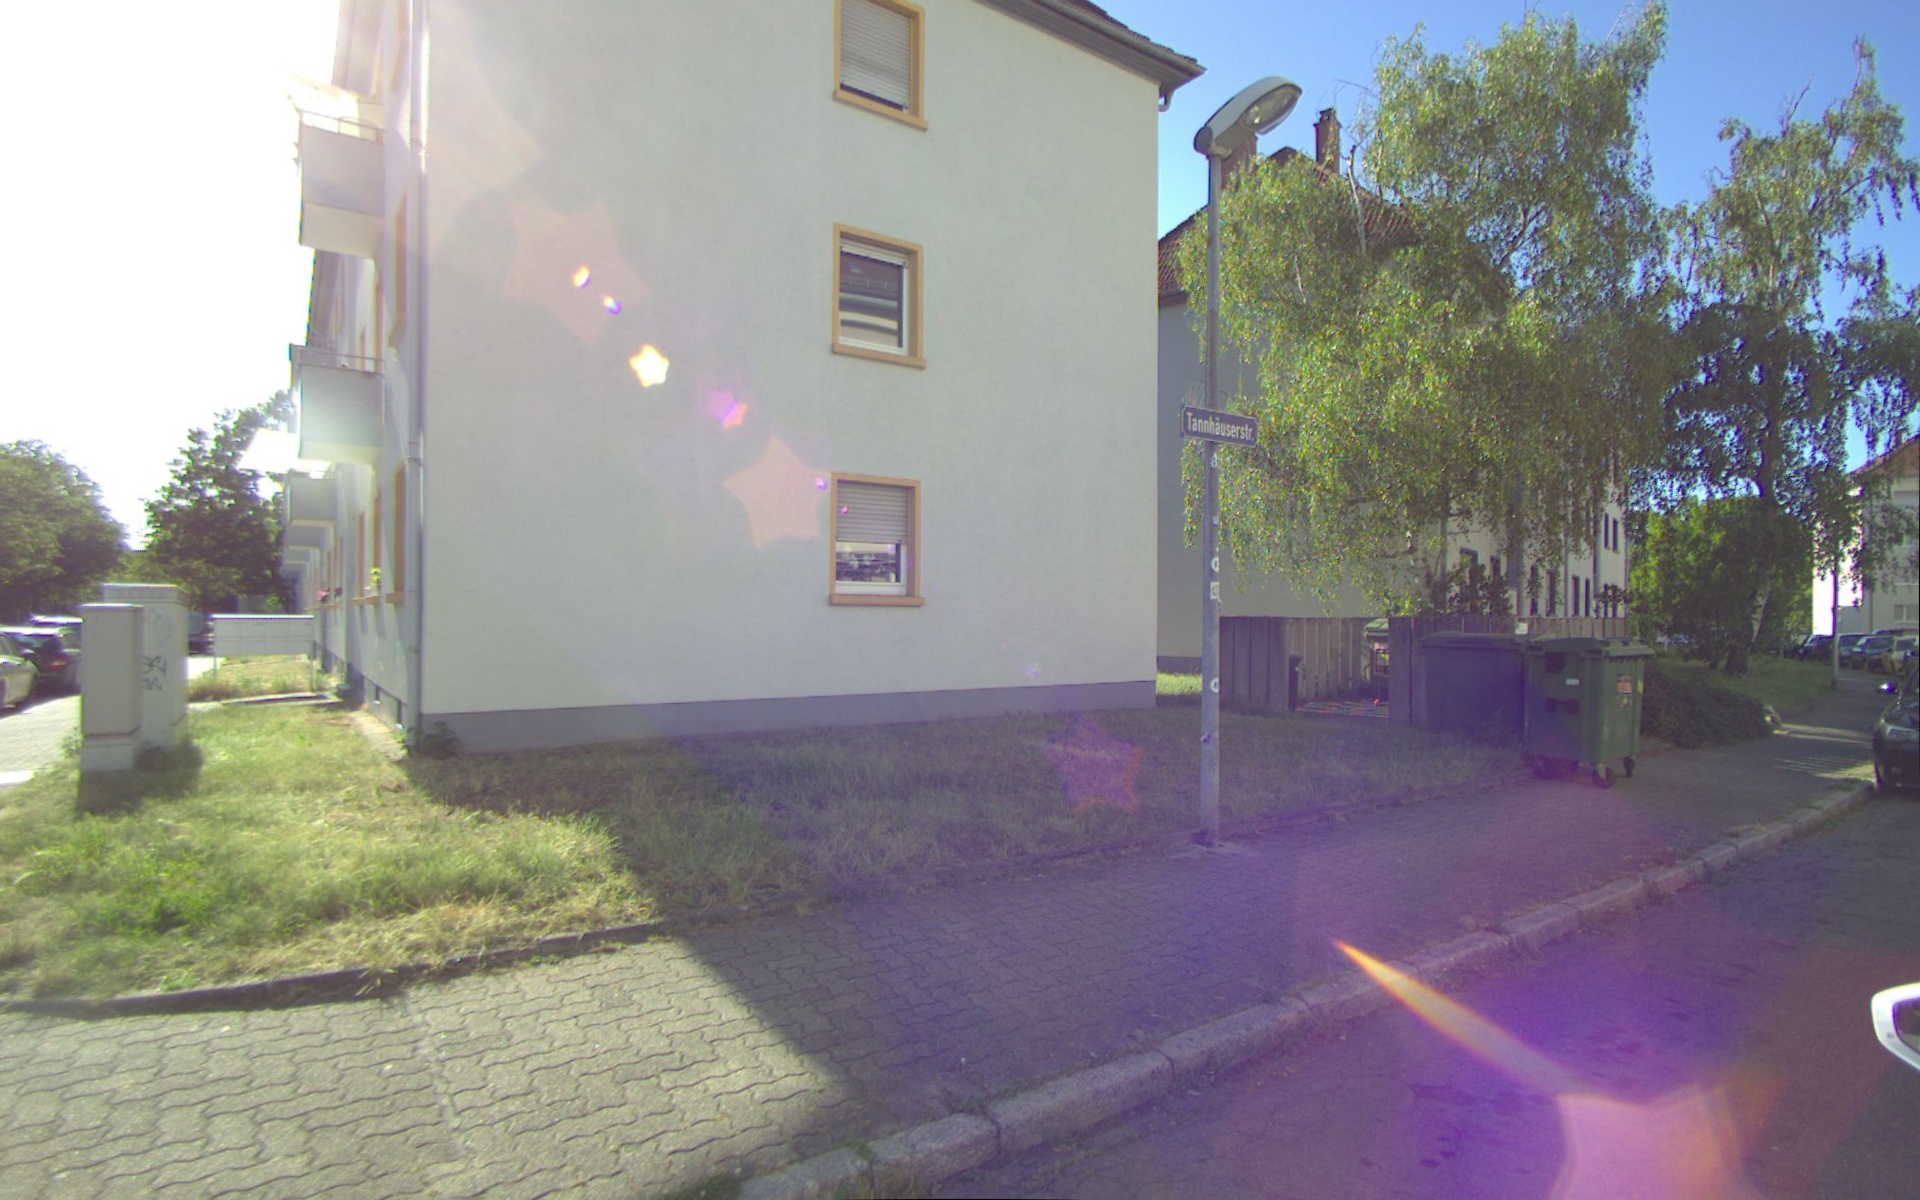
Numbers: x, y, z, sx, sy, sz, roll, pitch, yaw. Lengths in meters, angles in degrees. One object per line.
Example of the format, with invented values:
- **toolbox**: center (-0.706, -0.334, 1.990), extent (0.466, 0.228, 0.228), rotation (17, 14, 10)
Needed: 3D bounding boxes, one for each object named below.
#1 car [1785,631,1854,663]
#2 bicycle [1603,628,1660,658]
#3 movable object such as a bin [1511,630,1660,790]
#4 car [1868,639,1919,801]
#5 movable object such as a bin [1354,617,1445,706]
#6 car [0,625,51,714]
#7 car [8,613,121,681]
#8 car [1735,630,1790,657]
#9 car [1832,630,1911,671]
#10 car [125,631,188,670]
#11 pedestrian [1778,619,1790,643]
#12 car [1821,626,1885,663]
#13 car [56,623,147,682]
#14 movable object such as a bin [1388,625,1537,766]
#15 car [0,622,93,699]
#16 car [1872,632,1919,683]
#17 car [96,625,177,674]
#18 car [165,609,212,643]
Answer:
- **car**: center (41.750, 2.280, 48.894), extent (1.719, 1.450, 4.589), rotation (-3, -3, 31)
- **bicycle**: center (26.952, 1.712, 40.321), extent (0.564, 1.093, 1.802), rotation (1, 1, -45)
- **movable object such as a bin**: center (6.037, 1.002, 9.681), extent (1.404, 1.411, 0.770), rotation (1, -1, -37)
- **car**: center (10.892, 1.118, 10.312), extent (4.582, 1.471, 1.665), rotation (1, -4, -40)
- **movable object such as a bin**: center (7.499, 1.028, 17.161), extent (0.993, 1.454, 1.053), rotation (1, -3, -37)
- **car**: center (-16.680, 1.127, 16.620), extent (1.766, 1.401, 3.537), rotation (3, -4, -32)
- **car**: center (-23.605, 1.241, 26.604), extent (1.767, 1.679, 3.534), rotation (1, -3, -35)
- **car**: center (46.624, 2.521, 58.430), extent (1.633, 1.462, 3.868), rotation (-2, -3, 26)
- **car**: center (35.973, 1.973, 39.725), extent (1.547, 1.484, 4.251), rotation (-2, -2, 32)
- **car**: center (-36.659, 2.305, 45.899), extent (1.765, 1.679, 3.538), rotation (0, -3, -31)
- **pedestrian**: center (65.293, 2.461, 79.558), extent (0.646, 1.839, 0.612), rotation (-2, -3, 36)
- **car**: center (39.101, 1.932, 44.048), extent (1.459, 1.496, 3.621), rotation (-5, -4, 33)
- **car**: center (-26.367, 1.603, 30.957), extent (1.767, 1.679, 3.534), rotation (1, -3, -35)
- **movable object such as a bin**: center (5.391, 0.978, 10.815), extent (0.759, 1.399, 1.213), rotation (1, 0, -32)
- **car**: center (-20.282, 1.306, 21.846), extent (1.767, 1.545, 3.534), rotation (1, -3, -35)
- **car**: center (31.976, 1.887, 33.590), extent (1.672, 1.408, 4.141), rotation (-2, 0, 36)
- **car**: center (-30.213, 1.809, 36.944), extent (1.765, 1.679, 3.538), rotation (0, -3, -31)
- **car**: center (-45.364, 1.545, 59.104), extent (1.765, 1.932, 3.538), rotation (0, -3, -31)
